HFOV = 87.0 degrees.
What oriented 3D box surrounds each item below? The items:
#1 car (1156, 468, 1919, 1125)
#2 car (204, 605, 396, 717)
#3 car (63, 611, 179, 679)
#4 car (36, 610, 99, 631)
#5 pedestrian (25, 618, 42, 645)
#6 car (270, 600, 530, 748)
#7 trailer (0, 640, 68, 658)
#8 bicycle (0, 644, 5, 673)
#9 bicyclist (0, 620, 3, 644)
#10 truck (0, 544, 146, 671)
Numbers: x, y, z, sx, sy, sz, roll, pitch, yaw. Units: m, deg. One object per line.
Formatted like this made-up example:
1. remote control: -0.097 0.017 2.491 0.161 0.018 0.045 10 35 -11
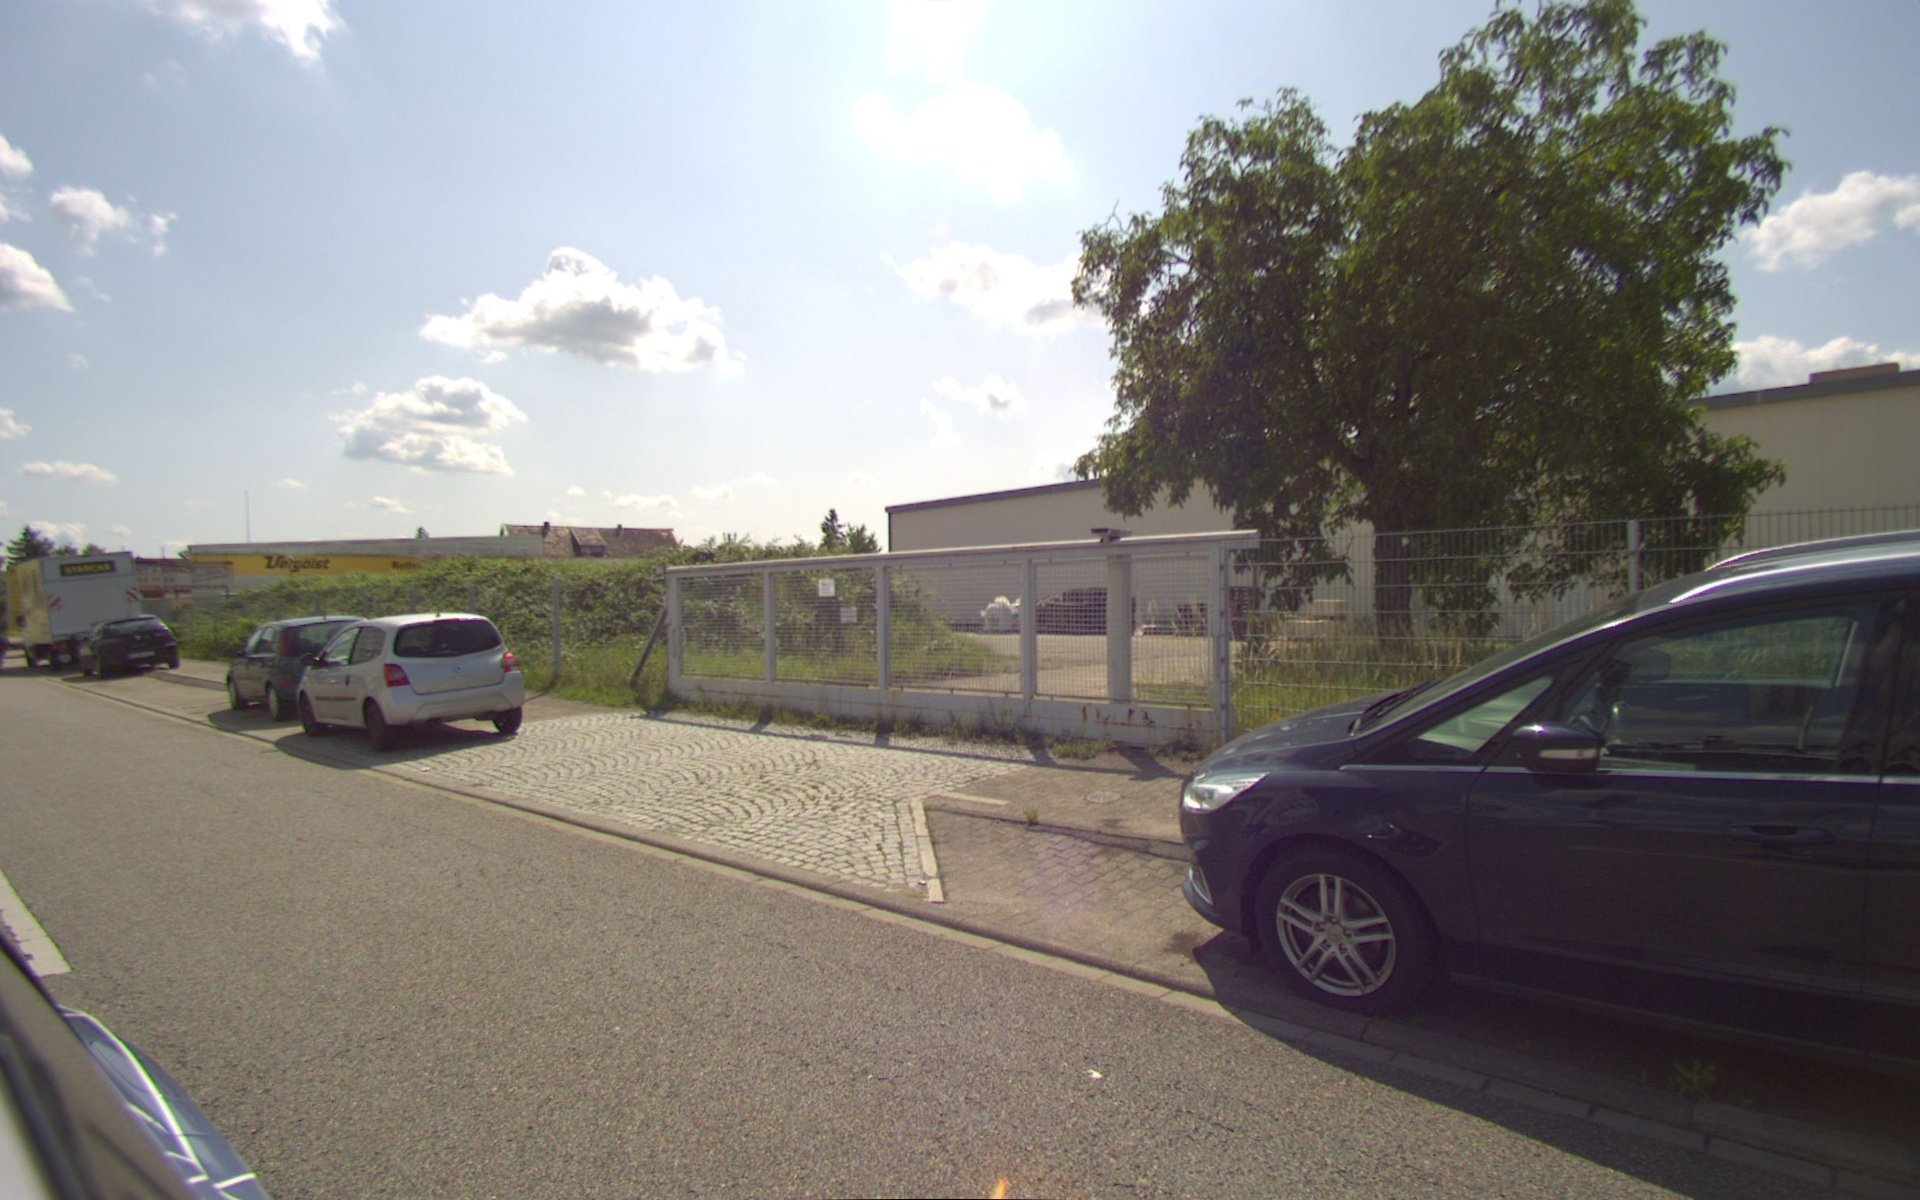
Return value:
1. car: 3.185 0.521 3.367 4.710 1.763 1.783 -1 0 41
2. car: -10.375 0.877 15.810 3.799 1.409 1.552 -1 4 43
3. car: -21.588 1.113 26.002 3.825 1.439 1.603 -1 6 42
4. car: -77.127 1.782 87.503 4.034 1.726 1.682 -1 0 -40
5. pedestrian: -54.818 1.871 59.862 0.918 1.557 0.653 -2 -1 43
6. car: -7.003 0.811 12.522 3.708 1.494 1.599 -1 2 41
7. trailer: -37.296 1.921 40.166 4.441 0.556 2.212 -1 0 40
8. bicycle: -26.790 1.609 27.898 2.125 0.747 0.581 -1 0 44
9. bicyclist: -26.826 0.894 27.901 1.858 0.636 0.559 -2 0 44
10. truck: -27.104 0.249 30.751 6.902 3.386 2.228 -2 4 41
